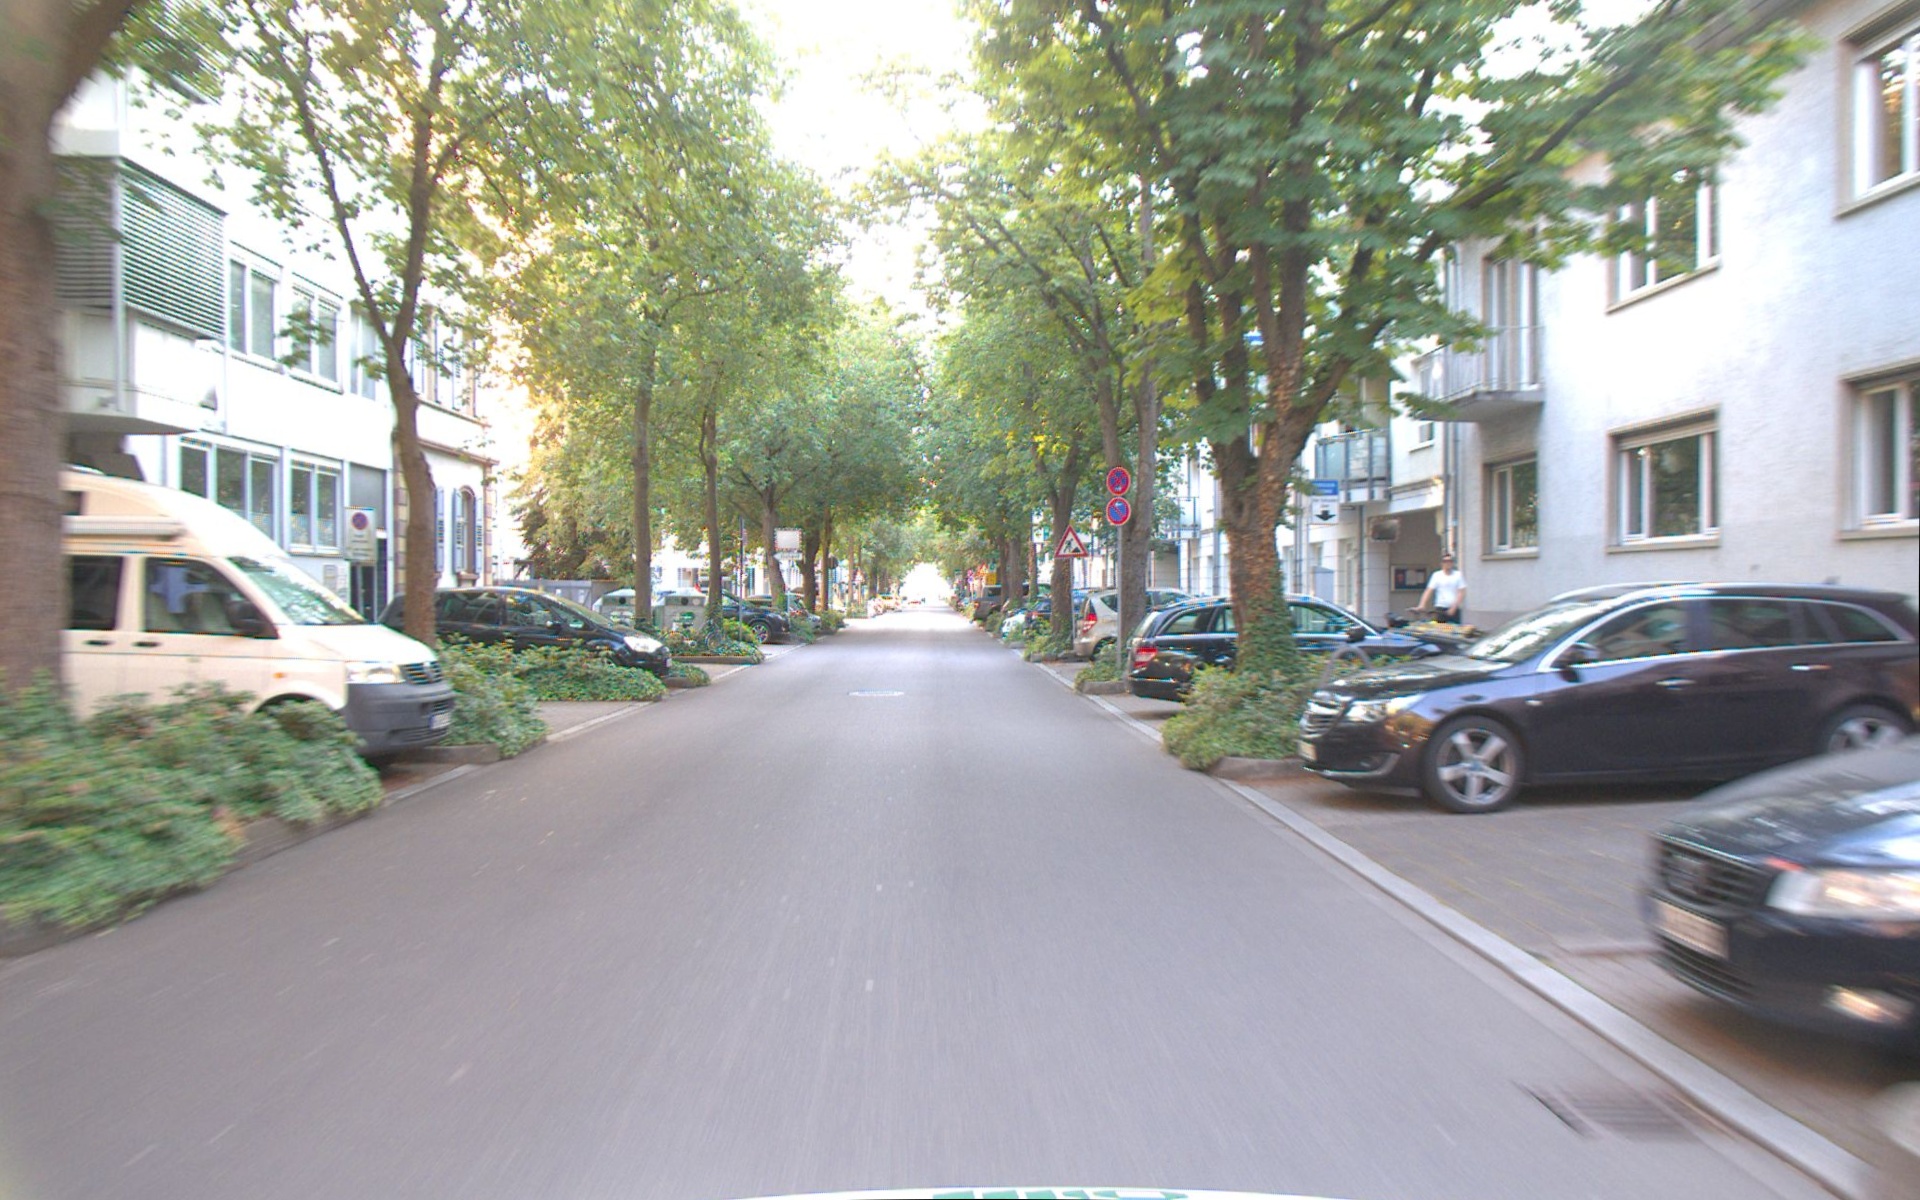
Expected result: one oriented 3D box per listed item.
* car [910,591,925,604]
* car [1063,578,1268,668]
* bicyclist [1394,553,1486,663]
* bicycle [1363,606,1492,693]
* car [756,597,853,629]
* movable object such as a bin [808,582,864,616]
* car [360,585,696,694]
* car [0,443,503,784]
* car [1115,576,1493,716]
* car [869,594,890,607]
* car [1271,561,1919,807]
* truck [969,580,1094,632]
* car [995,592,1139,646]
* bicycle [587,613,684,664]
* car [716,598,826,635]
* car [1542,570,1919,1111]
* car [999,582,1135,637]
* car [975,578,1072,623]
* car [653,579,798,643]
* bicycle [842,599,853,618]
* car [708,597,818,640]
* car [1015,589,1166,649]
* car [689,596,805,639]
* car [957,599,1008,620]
[{"bbox_3d":[-5.591,-0.313,218.066,1.969,1.641,4.118,0,1,-2],"label":"car"},{"bbox_3d":[4.177,0.460,34.095,3.889,1.613,1.916,-3,0,-2],"label":"car"},{"bbox_3d":[7.290,0.116,25.162,0.952,1.632,1.134,0,0,-8],"label":"bicyclist"},{"bbox_3d":[6.933,0.696,24.755,0.609,1.184,3.396,0,0,-7],"label":"bicycle"},{"bbox_3d":[-7.672,0.635,81.916,4.523,1.579,2.075,0,0,1],"label":"car"},{"bbox_3d":[-8.999,-0.089,119.747,3.969,2.425,2.780,0,0,-7],"label":"movable object such as a bin"},{"bbox_3d":[-6.732,0.605,26.195,4.753,1.650,2.160,0,0,-1],"label":"car"},{"bbox_3d":[-6.556,0.094,13.784,4.902,2.618,2.120,0,0,-1],"label":"car"},{"bbox_3d":[4.216,0.554,20.896,4.366,1.452,2.012,-3,0,3],"label":"car"},{"bbox_3d":[-8.038,0.058,164.837,1.955,1.310,3.996,0,0,-5],"label":"car"},{"bbox_3d":[4.757,0.545,12.011,4.582,1.412,2.000,-3,0,0],"label":"car"},{"bbox_3d":[3.298,0.272,77.365,5.768,2.351,2.212,0,0,-1],"label":"truck"},{"bbox_3d":[3.467,0.606,54.152,4.508,1.493,1.795,-3,0,-2],"label":"car"},{"bbox_3d":[-5.553,0.655,28.350,1.520,0.845,0.613,0,0,2],"label":"bicycle"},{"bbox_3d":[-7.497,0.647,66.041,4.200,1.455,1.879,0,0,-1],"label":"car"},{"bbox_3d":[4.711,0.585,5.591,4.740,1.473,2.042,-2,0,1],"label":"car"},{"bbox_3d":[3.794,0.347,59.335,4.553,1.645,2.008,-4,0,-5],"label":"car"},{"bbox_3d":[3.035,-0.001,80.103,4.508,2.102,2.196,-1,0,-3],"label":"car"},{"bbox_3d":[-7.484,0.345,53.145,4.415,1.989,1.999,0,0,-3],"label":"car"},{"bbox_3d":[-7.164,0.551,105.255,0.670,1.173,1.978,0,0,-6],"label":"bicycle"},{"bbox_3d":[-7.536,0.696,63.412,3.903,1.593,1.930,0,0,4],"label":"car"},{"bbox_3d":[3.766,0.541,48.136,4.006,1.476,1.932,-3,0,-7],"label":"car"},{"bbox_3d":[-7.491,0.607,58.366,3.907,1.489,1.921,0,0,-3],"label":"car"},{"bbox_3d":[1.756,0.745,128.741,3.905,1.613,2.000,0,0,0],"label":"car"}]
